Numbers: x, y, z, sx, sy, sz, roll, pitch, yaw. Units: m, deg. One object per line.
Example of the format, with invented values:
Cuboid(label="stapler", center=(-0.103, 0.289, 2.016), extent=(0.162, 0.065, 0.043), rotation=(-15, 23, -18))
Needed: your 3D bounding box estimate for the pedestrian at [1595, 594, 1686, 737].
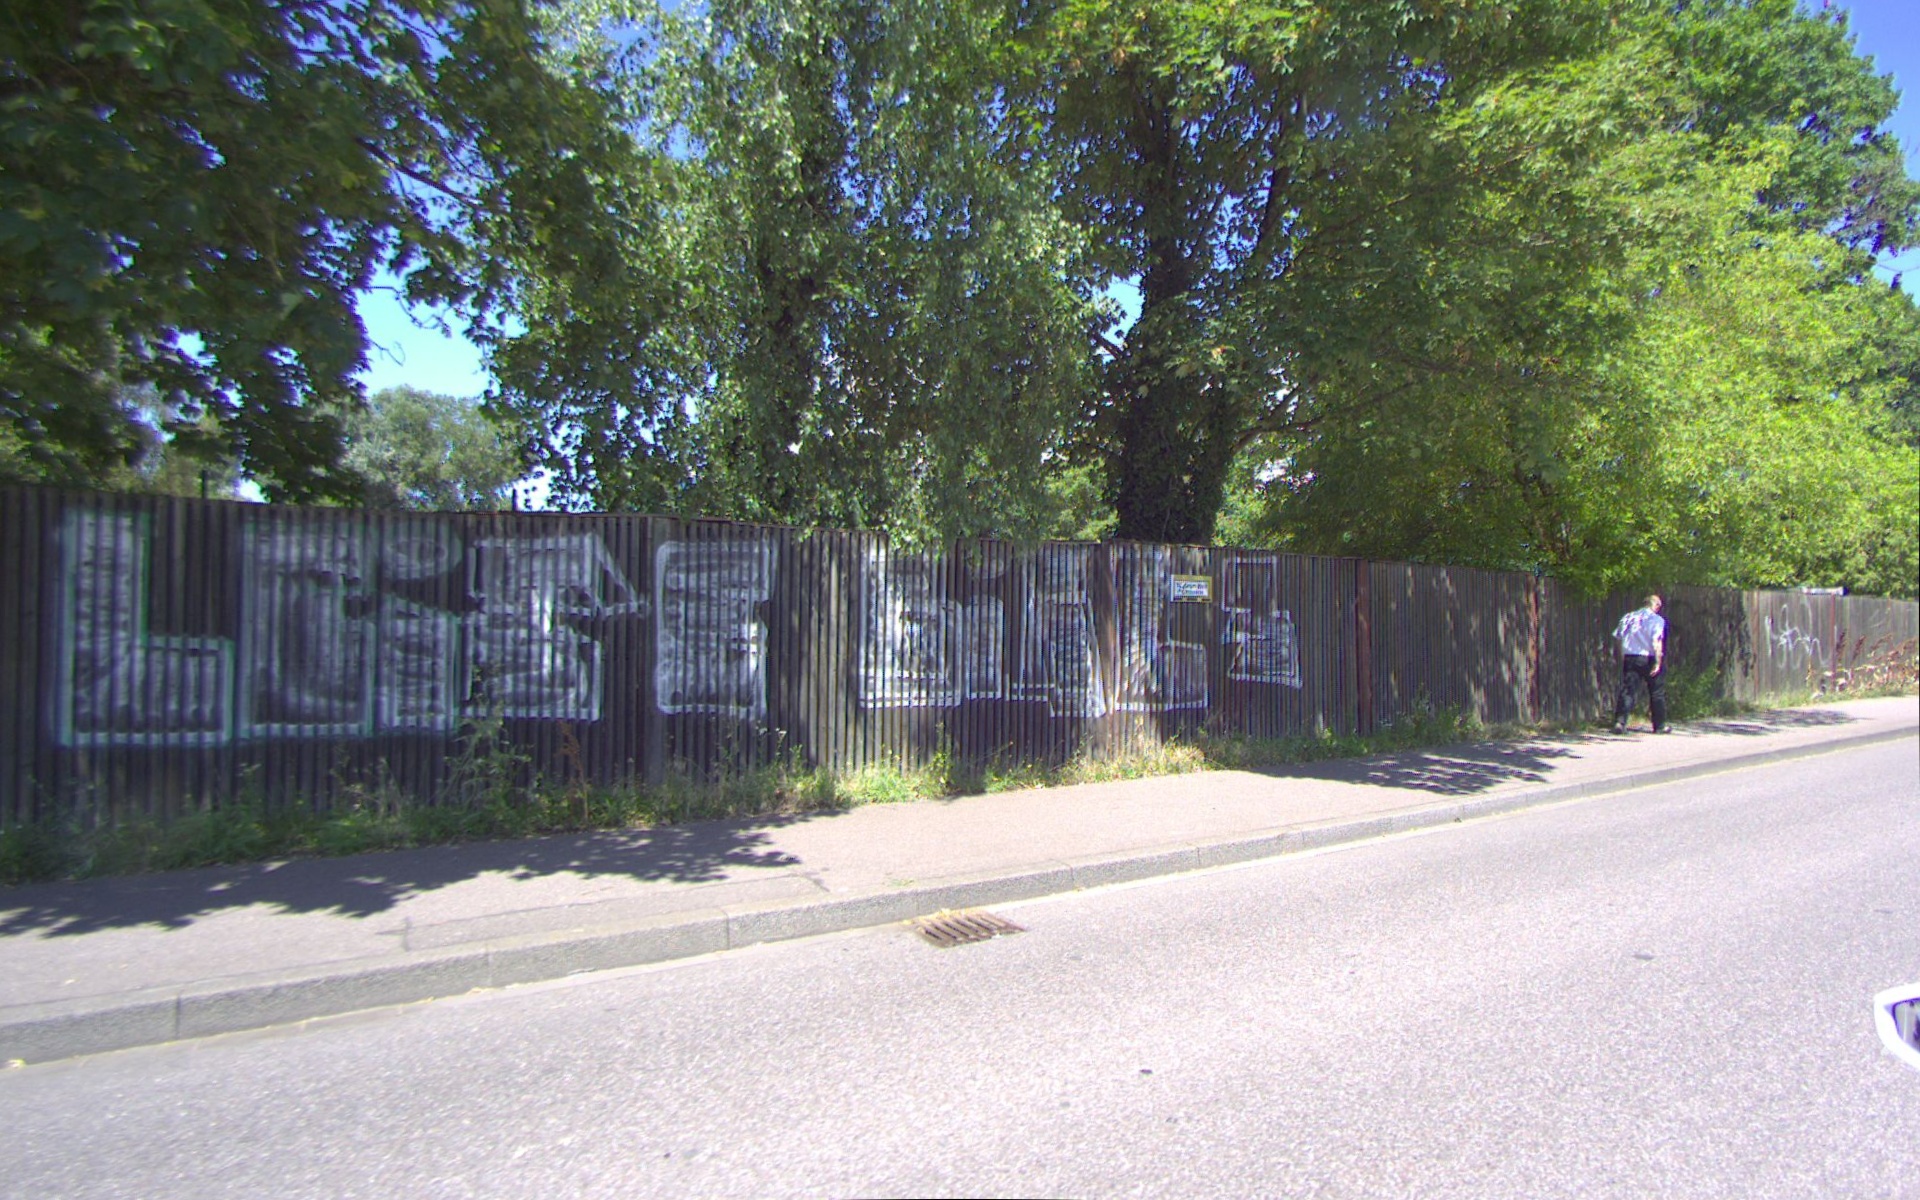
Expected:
Cuboid(label="pedestrian", center=(8.721, 0.817, 12.873), extent=(0.809, 1.748, 0.718), rotation=(1, -1, -33))
